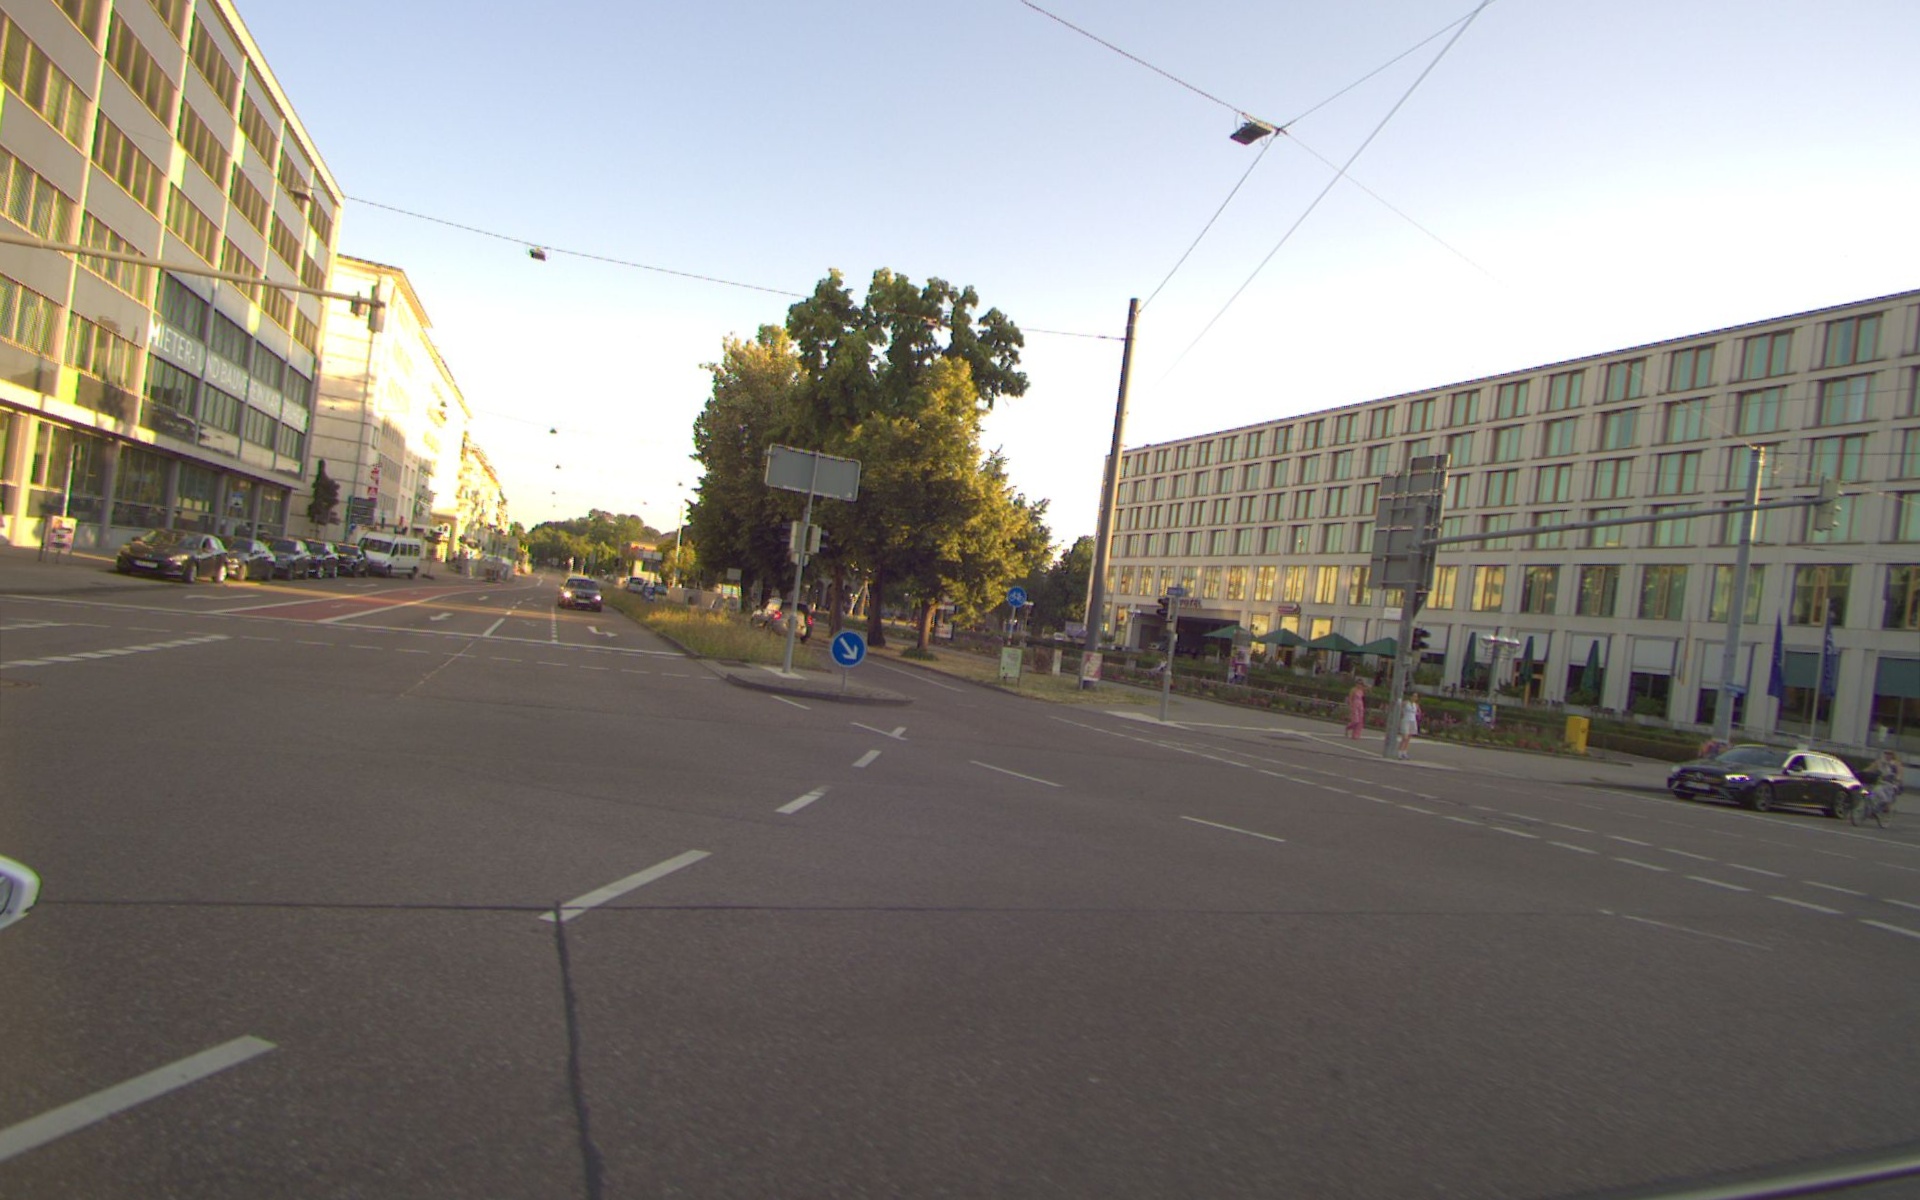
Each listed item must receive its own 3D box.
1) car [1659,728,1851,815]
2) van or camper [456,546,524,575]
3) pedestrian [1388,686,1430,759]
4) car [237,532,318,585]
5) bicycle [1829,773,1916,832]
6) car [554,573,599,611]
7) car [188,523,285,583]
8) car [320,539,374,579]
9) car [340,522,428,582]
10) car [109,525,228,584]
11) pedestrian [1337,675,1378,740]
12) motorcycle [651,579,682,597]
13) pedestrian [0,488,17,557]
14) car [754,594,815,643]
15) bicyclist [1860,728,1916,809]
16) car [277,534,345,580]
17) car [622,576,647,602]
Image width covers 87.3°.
[{"bbox_3d":[19.011,4.103,24.005,4.756,1.539,1.805,9,-3,-28],"label":"car"},{"bbox_3d":[-45.921,-3.847,98.350,2.211,2.193,5.505,6,-1,37],"label":"van or camper"},{"bbox_3d":[10.906,2.972,24.441,0.528,1.646,0.627,7,0,-5],"label":"pedestrian"},{"bbox_3d":[-27.394,-1.642,40.495,1.678,1.682,3.848,12,-3,-22],"label":"car"},{"bbox_3d":[20.004,4.432,22.058,1.735,1.064,0.538,8,-1,-17],"label":"bicycle"},{"bbox_3d":[-17.559,-0.395,46.178,1.675,1.438,4.156,7,-1,-19],"label":"car"},{"bbox_3d":[-25.418,-1.615,35.496,1.678,1.682,3.848,12,-3,-22],"label":"car"},{"bbox_3d":[-31.299,-2.094,51.464,1.486,1.682,3.848,11,-3,-22],"label":"car"},{"bbox_3d":[-32.917,-2.685,57.748,2.211,2.655,5.843,12,-3,-11],"label":"car"},{"bbox_3d":[-23.331,-1.305,29.817,1.676,1.428,3.848,7,-1,-23],"label":"car"},{"bbox_3d":[11.006,2.966,27.870,0.712,1.646,0.739,7,0,10],"label":"pedestrian"},{"bbox_3d":[-35.882,-1.461,122.863,3.449,1.776,0.922,8,0,-20],"label":"motorcycle"},{"bbox_3d":[-25.338,-2.067,26.173,0.833,1.789,0.780,7,0,-26],"label":"pedestrian"},{"bbox_3d":[-7.171,0.697,40.844,1.675,1.623,4.075,10,-2,-17],"label":"car"},{"bbox_3d":[20.439,3.711,22.164,0.588,1.655,0.539,7,0,-16],"label":"bicyclist"},{"bbox_3d":[-29.376,-1.914,45.662,1.678,1.682,3.848,12,-3,-22],"label":"car"},{"bbox_3d":[-31.751,-1.087,98.060,1.864,2.265,3.892,7,-1,-21],"label":"car"}]
